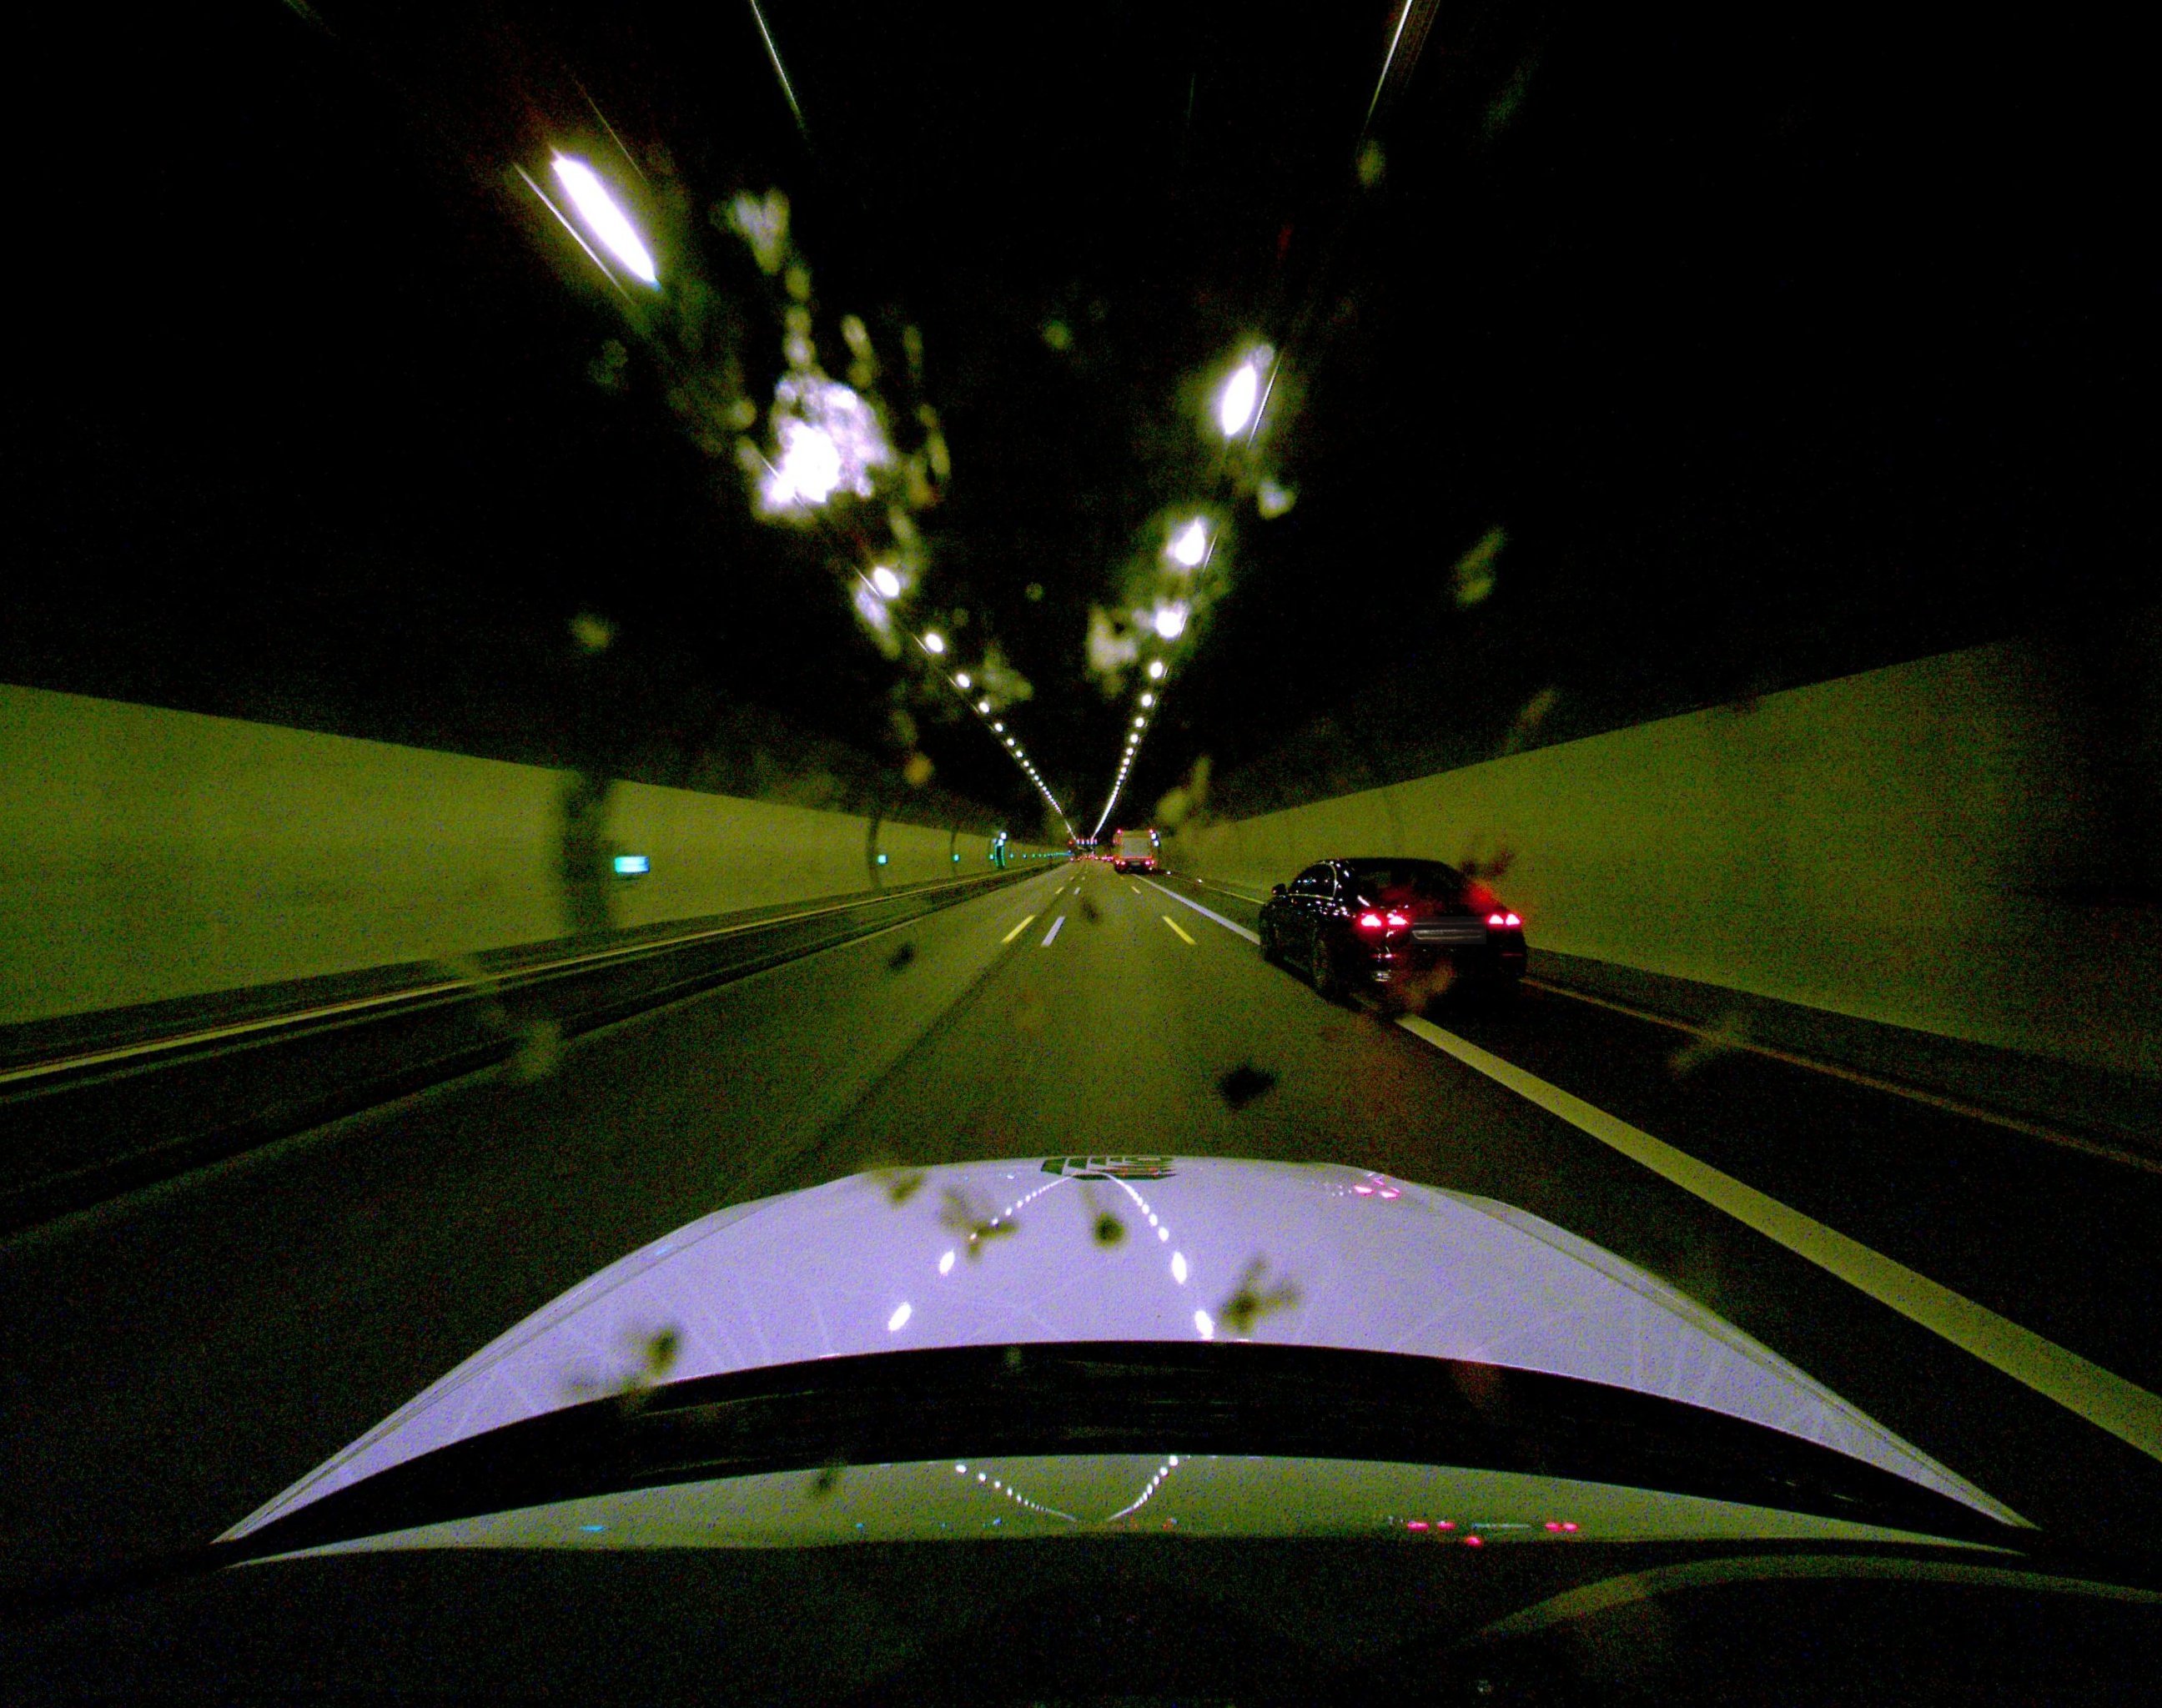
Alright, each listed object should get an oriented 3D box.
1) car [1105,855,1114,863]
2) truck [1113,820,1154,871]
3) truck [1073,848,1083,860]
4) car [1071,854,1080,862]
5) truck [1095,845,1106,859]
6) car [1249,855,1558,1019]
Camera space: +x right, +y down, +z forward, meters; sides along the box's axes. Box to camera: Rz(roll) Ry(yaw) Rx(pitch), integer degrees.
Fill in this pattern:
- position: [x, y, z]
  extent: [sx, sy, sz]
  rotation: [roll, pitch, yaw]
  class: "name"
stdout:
- position: [5.521, 1.007, 156.005]
  extent: [1.733, 1.461, 3.962]
  rotation: [0, 1, 2]
  class: "car"
- position: [4.270, -0.615, 67.894]
  extent: [3.079, 3.918, 10.373]
  rotation: [0, -1, 2]
  class: "truck"
- position: [-0.911, -0.042, 263.812]
  extent: [3.056, 3.918, 10.366]
  rotation: [0, -1, 0]
  class: "truck"
- position: [-1.022, 0.784, 154.456]
  extent: [1.753, 1.461, 4.119]
  rotation: [0, 1, 1]
  class: "car"
- position: [5.699, -0.621, 237.388]
  extent: [3.055, 3.918, 10.371]
  rotation: [0, -1, 2]
  class: "truck"
- position: [3.430, 0.754, 9.857]
  extent: [1.918, 1.472, 4.956]
  rotation: [0, 0, 2]
  class: "car"
